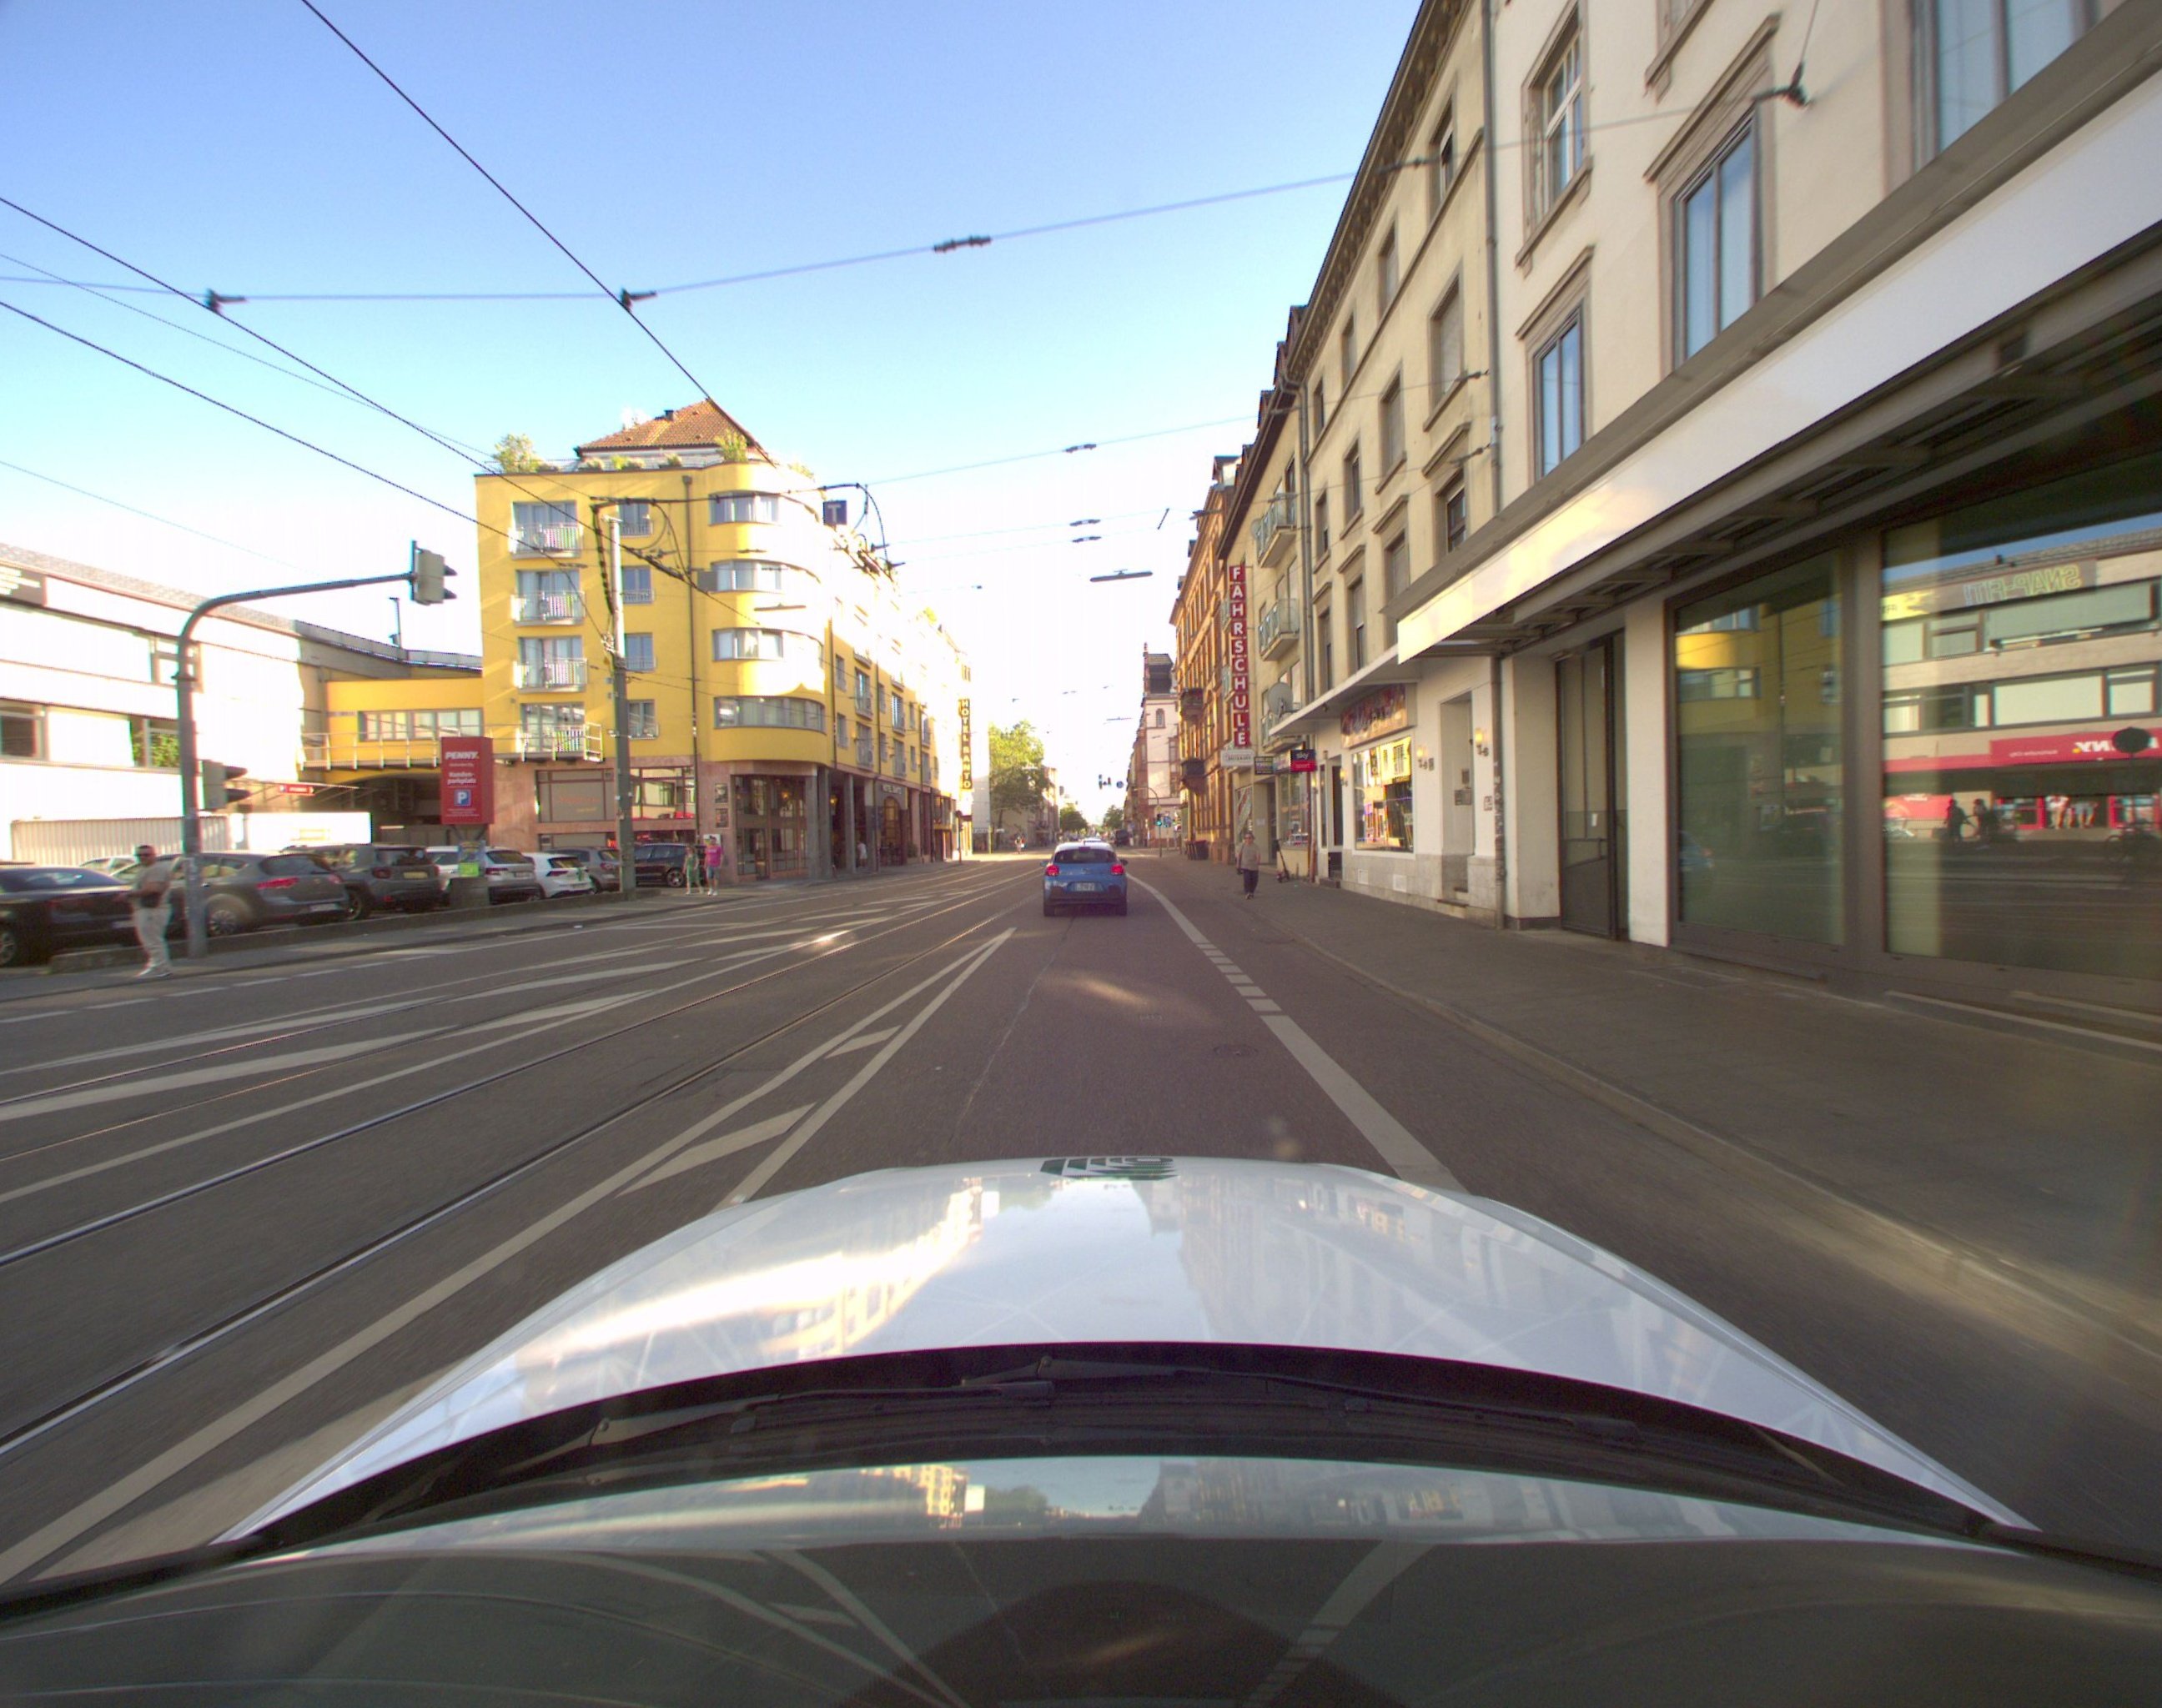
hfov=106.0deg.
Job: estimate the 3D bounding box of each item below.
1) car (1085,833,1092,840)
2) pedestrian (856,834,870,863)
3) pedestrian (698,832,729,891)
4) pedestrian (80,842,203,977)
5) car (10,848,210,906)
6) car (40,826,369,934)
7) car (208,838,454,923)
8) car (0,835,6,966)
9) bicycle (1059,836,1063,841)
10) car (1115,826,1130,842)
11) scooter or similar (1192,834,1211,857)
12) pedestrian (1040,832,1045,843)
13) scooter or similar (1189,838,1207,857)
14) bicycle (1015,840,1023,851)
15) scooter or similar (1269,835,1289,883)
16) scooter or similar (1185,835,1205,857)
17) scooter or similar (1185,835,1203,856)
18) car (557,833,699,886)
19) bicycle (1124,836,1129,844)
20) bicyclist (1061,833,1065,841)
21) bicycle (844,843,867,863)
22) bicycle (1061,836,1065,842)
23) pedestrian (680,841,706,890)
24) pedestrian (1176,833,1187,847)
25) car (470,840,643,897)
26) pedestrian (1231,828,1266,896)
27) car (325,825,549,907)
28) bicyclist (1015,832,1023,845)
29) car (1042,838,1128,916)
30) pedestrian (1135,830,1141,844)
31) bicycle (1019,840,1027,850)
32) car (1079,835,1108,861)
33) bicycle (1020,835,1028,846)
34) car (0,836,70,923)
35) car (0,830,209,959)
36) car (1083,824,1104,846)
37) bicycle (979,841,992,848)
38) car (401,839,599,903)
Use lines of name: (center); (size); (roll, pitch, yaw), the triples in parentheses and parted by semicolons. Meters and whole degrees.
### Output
car: (2.149, -4.952, 227.993); (1.987, 1.743, 4.563); (-2, 1, 0)
pedestrian: (-13.263, -0.354, 49.636); (0.558, 1.770, 0.724); (-1, 1, 6)
pedestrian: (-12.243, 0.242, 27.120); (0.635, 1.946, 0.709); (-2, 1, 0)
pedestrian: (-12.754, 0.724, 11.085); (0.712, 1.764, 0.779); (0, 1, -5)
car: (-27.730, 0.636, 23.353); (3.567, 1.479, 1.695); (-1, 1, -1)
car: (-16.289, 0.442, 15.300); (4.218, 1.811, 1.786); (-1, 1, 1)
car: (-16.287, 0.539, 17.828); (3.676, 1.672, 1.786); (-1, 1, 1)
car: (-16.682, 0.670, 10.134); (4.218, 1.763, 1.786); (-1, 1, 1)
bicycle: (-5.384, -4.188, 218.734); (1.118, 1.319, 3.639); (-2, 1, -4)
car: (6.440, -3.097, 126.800); (2.263, 2.436, 5.722); (-2, 1, 1)
scooter or similar: (6.508, -0.464, 44.080); (0.788, 1.148, 0.790); (-6, 1, 0)
pedestrian: (-6.396, -2.767, 135.044); (0.678, 1.765, 1.029); (-1, 1, 12)
scooter or similar: (6.449, -0.365, 44.868); (0.788, 0.957, 0.680); (-6, 1, 0)
bicycle: (-6.500, -0.899, 85.553); (0.728, 1.088, 2.062); (-1, 1, 0)
scooter or similar: (5.545, 0.129, 22.780); (0.407, 1.281, 1.290); (-1, 1, 18)
scooter or similar: (6.416, -0.470, 45.721); (0.930, 1.148, 0.650); (-6, 1, 0)
scooter or similar: (6.476, -0.491, 46.737); (0.894, 1.148, 0.547); (-6, 1, -1)
car: (-16.818, 0.171, 30.397); (4.218, 1.811, 1.786); (-1, 1, 1)
bicycle: (5.958, -1.827, 106.494); (0.430, 0.947, 1.760); (-1, 1, -6)
bicyclist: (-3.365, -3.307, 154.383); (0.680, 1.483, 0.779); (-2, 1, 0)
bicycle: (-13.861, -0.068, 50.142); (0.578, 1.202, 2.084); (-1, 1, 6)
bicycle: (-3.352, -2.771, 154.359); (0.690, 1.120, 2.084); (-1, 2, 1)
pedestrian: (-13.049, 0.374, 27.370); (0.570, 1.617, 0.499); (-2, 1, 0)
pedestrian: (10.369, -1.480, 84.303); (0.936, 1.456, 0.822); (-1, 1, -4)
car: (-16.396, 0.446, 25.577); (4.218, 1.548, 1.786); (-2, -1, 1)
pedestrian: (3.962, 0.182, 19.341); (0.646, 1.560, 0.781); (-1, 1, 0)
car: (-16.228, 0.311, 20.657); (4.218, 1.812, 1.786); (-2, -1, 1)
bicyclist: (-6.497, -1.631, 85.465); (0.722, 1.381, 1.228); (-1, 2, 0)
car: (0.057, 0.403, 17.885); (1.669, 1.477, 3.999); (-1, 1, -1)
pedestrian: (7.409, -2.226, 106.333); (0.703, 1.782, 0.673); (-1, 1, 0)
bicycle: (-6.649, -1.048, 93.221); (0.728, 1.065, 2.062); (-1, 1, 0)
car: (0.748, -0.404, 50.424); (1.661, 1.478, 4.001); (-2, 1, 0)
bicycle: (-6.717, -1.610, 95.732); (0.728, 1.183, 2.062); (-1, 1, 0)
car: (-23.625, 0.557, 16.676); (3.567, 1.748, 1.695); (-1, 1, -1)
car: (-16.563, 0.614, 12.571); (4.218, 1.811, 1.786); (-2, 1, 1)
car: (1.246, -1.918, 81.516); (1.987, 2.013, 4.001); (-2, 1, 0)
bicycle: (-13.975, -1.346, 119.308); (1.898, 1.034, 0.669); (-1, 1, 27)
car: (-16.220, 0.444, 22.884); (4.218, 1.609, 1.786); (-1, 1, 1)
